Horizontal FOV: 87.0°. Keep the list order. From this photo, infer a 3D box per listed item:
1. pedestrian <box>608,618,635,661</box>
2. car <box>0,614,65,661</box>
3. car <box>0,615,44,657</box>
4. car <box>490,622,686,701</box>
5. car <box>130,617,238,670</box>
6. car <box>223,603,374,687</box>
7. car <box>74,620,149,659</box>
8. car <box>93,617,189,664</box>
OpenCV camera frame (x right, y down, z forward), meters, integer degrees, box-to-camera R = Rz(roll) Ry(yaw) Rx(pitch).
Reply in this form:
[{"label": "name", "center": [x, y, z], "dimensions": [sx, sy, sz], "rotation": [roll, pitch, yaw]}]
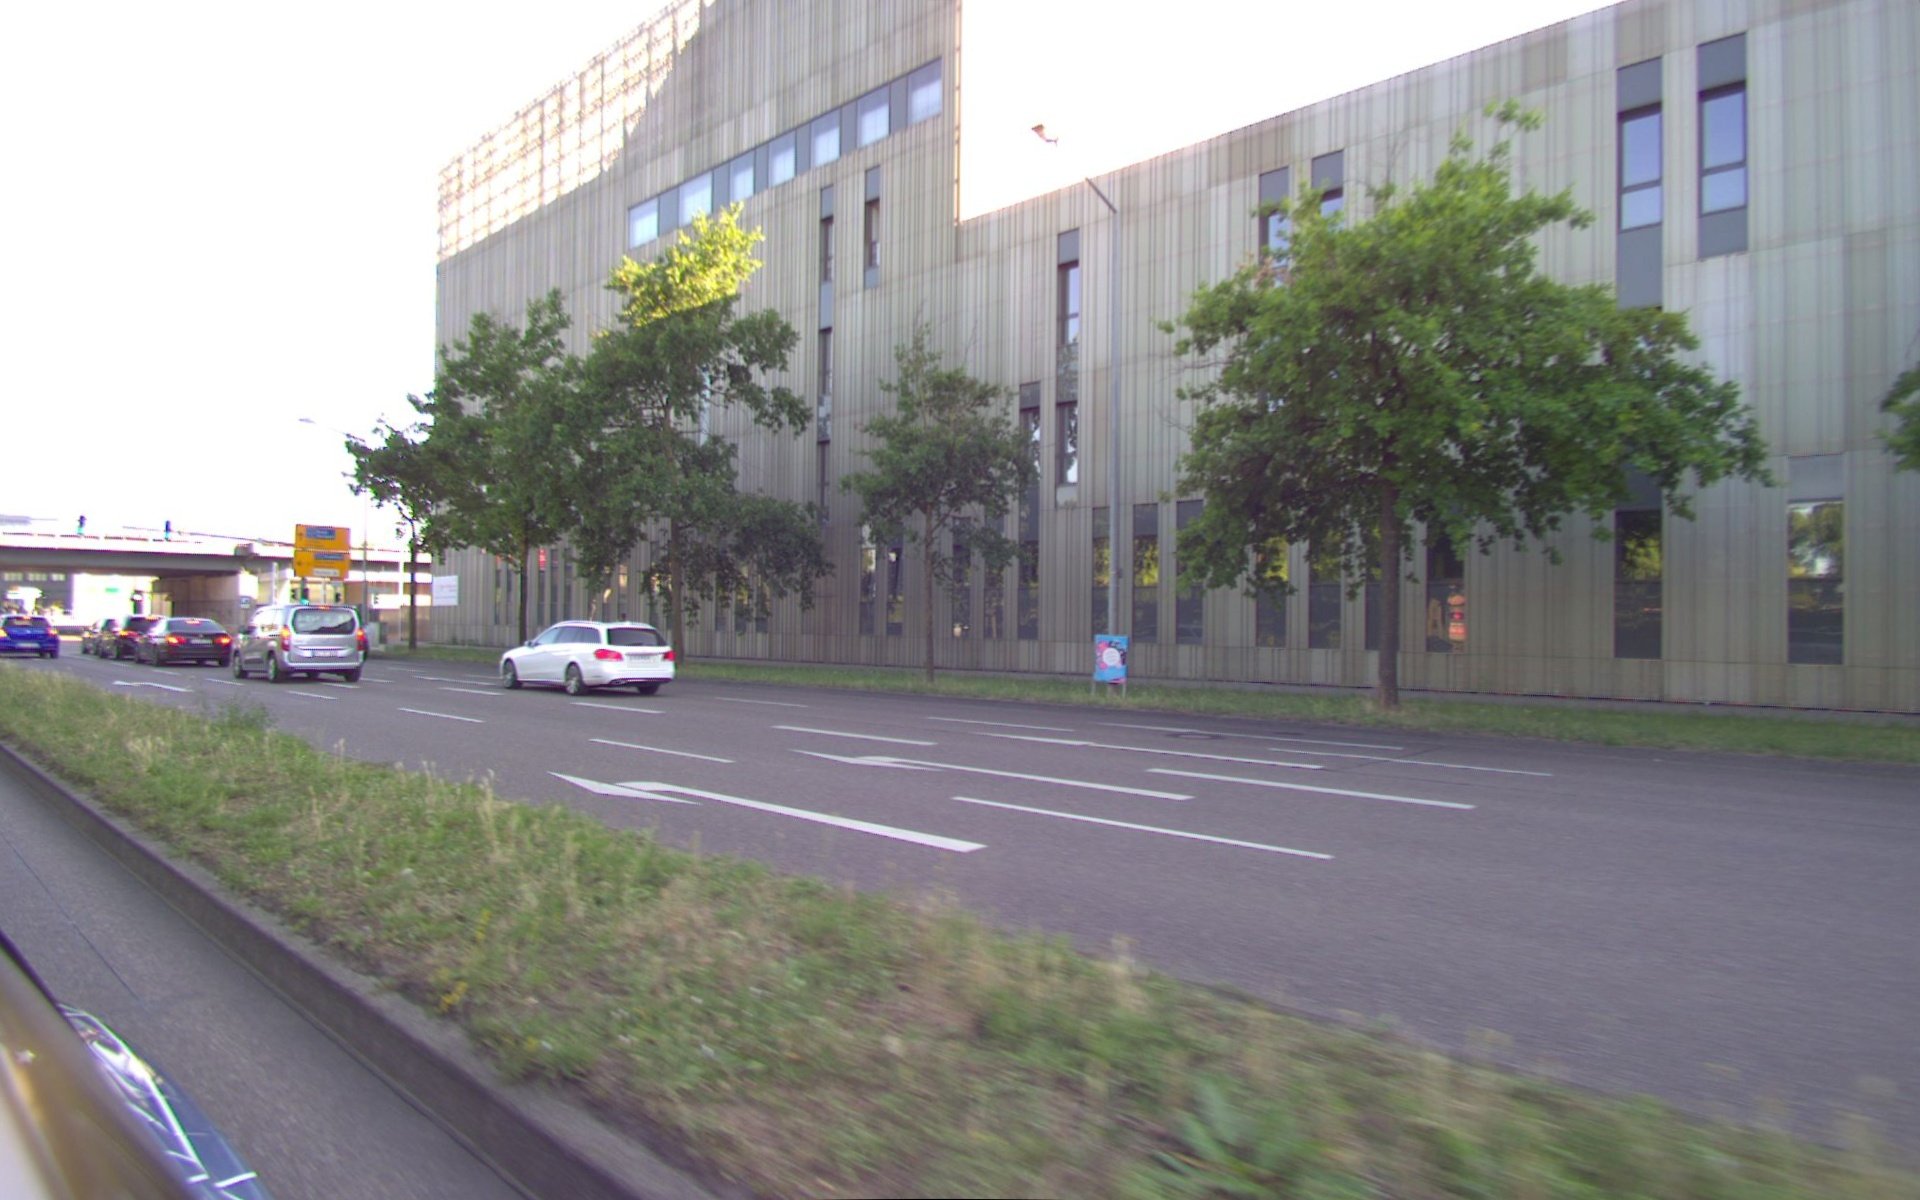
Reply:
[{"label": "pedestrian", "center": [-12.850, 1.488, 38.425], "dimensions": [0.725, 1.641, 0.689], "rotation": [-1, -2, 41]}, {"label": "car", "center": [-32.176, 1.269, 34.568], "dimensions": [3.949, 1.530, 1.817], "rotation": [-1, -2, 40]}, {"label": "car", "center": [-37.852, 1.406, 40.122], "dimensions": [4.000, 1.617, 1.904], "rotation": [-1, -3, 43]}, {"label": "car", "center": [-7.996, 1.251, 21.536], "dimensions": [4.814, 1.484, 1.826], "rotation": [-1, -3, 42]}, {"label": "car", "center": [-23.989, 1.303, 31.232], "dimensions": [4.290, 1.530, 1.904], "rotation": [-1, -3, 43]}, {"label": "car", "center": [-15.925, 1.035, 24.286], "dimensions": [4.401, 1.830, 1.972], "rotation": [-1, -3, 43]}, {"label": "car", "center": [-33.273, 1.534, 39.665], "dimensions": [3.770, 1.444, 1.673], "rotation": [-1, -3, 41]}, {"label": "car", "center": [-28.471, 1.380, 35.149], "dimensions": [3.998, 1.530, 1.905], "rotation": [-1, -3, 41]}]
